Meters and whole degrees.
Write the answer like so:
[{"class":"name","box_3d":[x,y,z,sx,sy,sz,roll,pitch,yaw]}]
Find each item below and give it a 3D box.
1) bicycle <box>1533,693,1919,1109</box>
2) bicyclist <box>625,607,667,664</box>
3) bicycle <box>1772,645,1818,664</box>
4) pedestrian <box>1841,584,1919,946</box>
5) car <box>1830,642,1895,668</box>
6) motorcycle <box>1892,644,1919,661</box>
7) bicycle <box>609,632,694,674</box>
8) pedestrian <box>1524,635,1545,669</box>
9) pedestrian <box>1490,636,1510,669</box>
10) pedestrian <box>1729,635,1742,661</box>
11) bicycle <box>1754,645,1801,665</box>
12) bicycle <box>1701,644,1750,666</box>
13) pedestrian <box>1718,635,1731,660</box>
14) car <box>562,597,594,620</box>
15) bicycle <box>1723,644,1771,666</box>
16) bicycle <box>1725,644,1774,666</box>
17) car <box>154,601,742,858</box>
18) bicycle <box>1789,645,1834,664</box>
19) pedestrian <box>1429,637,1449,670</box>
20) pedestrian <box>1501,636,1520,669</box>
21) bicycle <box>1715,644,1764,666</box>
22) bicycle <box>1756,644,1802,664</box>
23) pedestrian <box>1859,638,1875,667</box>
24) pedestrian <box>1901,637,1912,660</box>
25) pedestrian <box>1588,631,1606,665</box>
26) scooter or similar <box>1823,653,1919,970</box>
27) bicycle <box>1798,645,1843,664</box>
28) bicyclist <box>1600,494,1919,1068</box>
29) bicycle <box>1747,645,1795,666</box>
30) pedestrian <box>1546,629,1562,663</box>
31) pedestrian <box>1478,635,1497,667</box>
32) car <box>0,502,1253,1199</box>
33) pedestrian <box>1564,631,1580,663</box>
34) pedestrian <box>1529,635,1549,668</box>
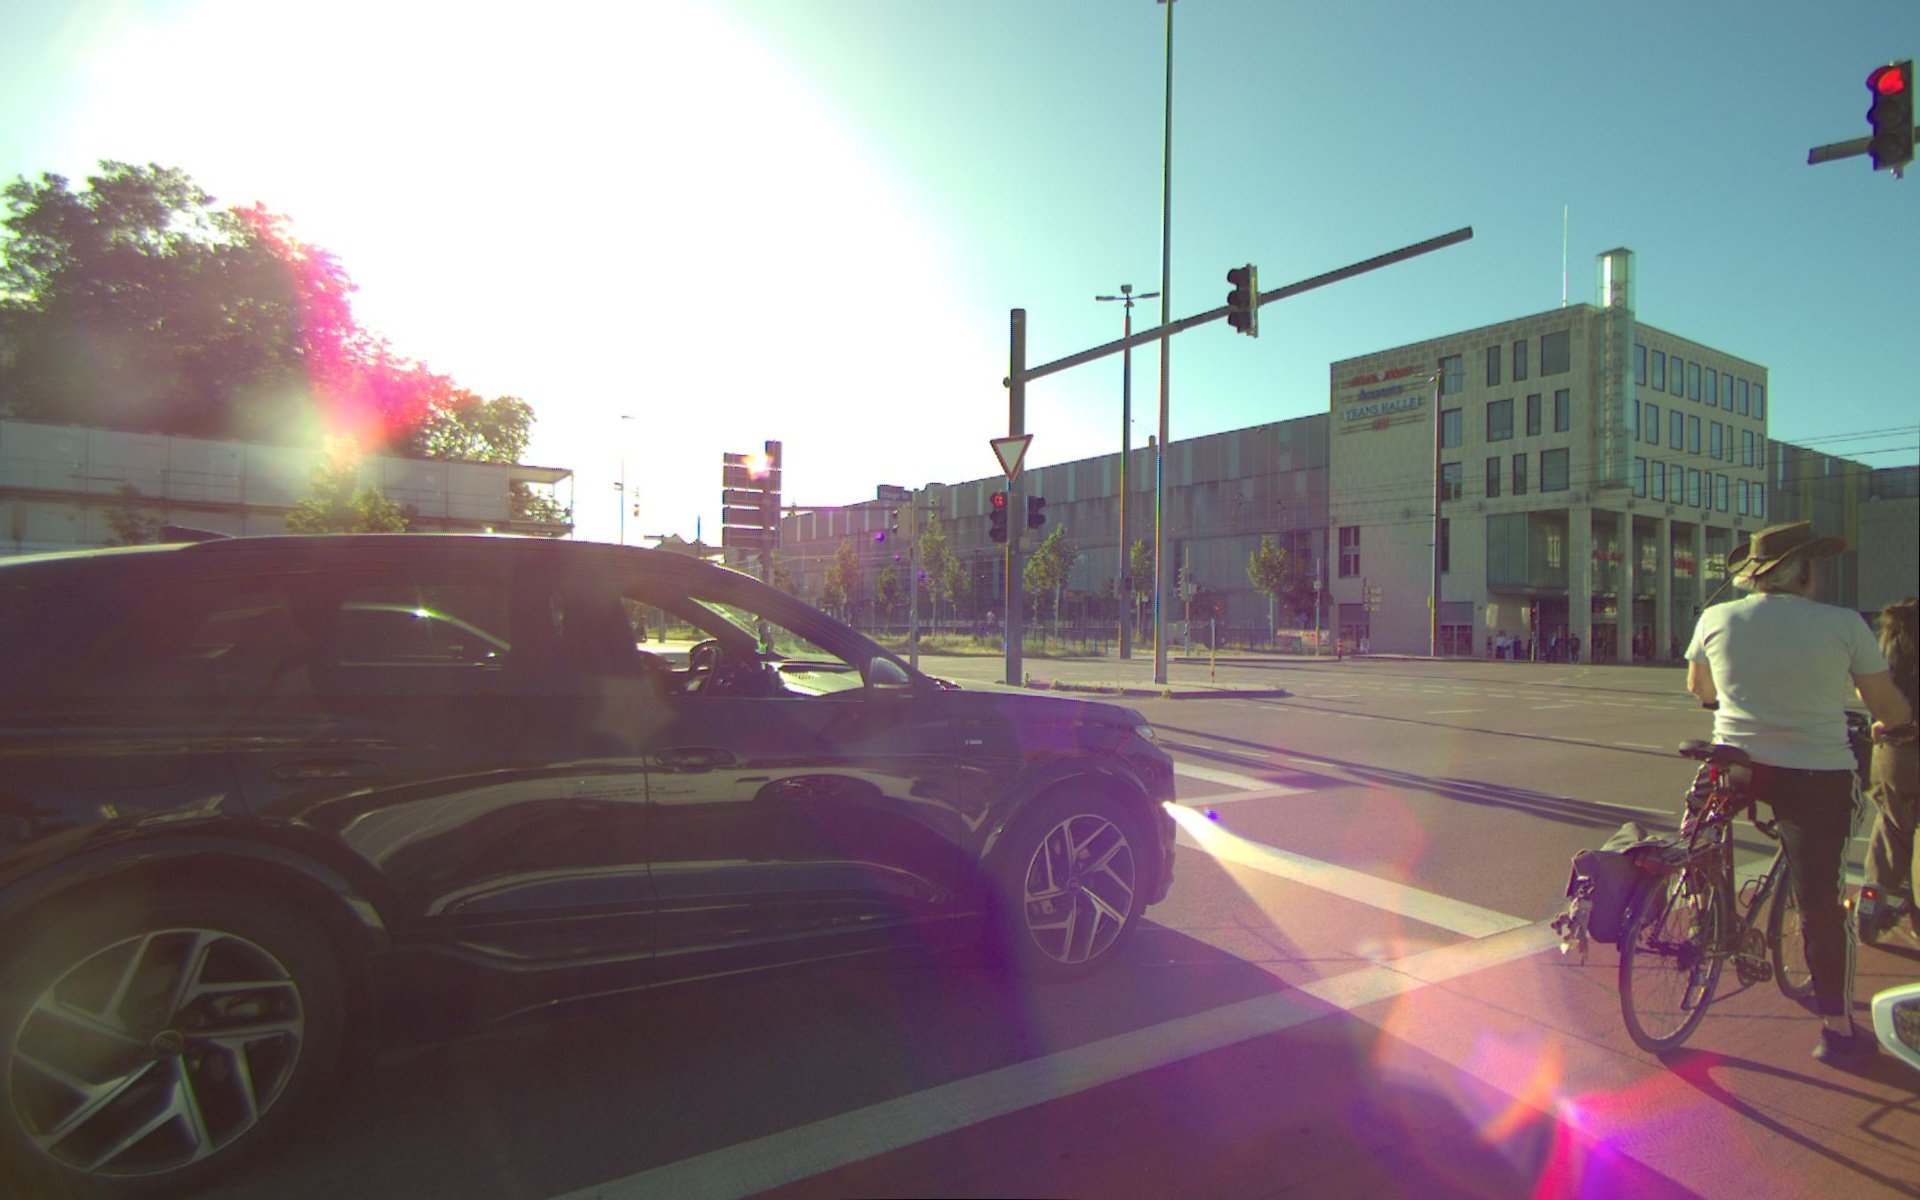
[{"class":"bicycle","box_3d":[2.870,0.964,3.678,1.810,1.171,0.482,2,0,-31]},{"class":"bicyclist","box_3d":[-11.573,1.302,37.063,1.078,2.040,0.961,2,0,17]},{"class":"bicycle","box_3d":[55.513,3.618,66.826,0.605,1.238,2.295,1,-1,-31]},{"class":"pedestrian","box_3d":[4.624,0.764,4.805,0.568,1.654,0.543,2,0,-45]},{"class":"car","box_3d":[49.776,3.063,55.406,3.956,1.359,1.621,2,-4,-32]},{"class":"motorcycle","box_3d":[70.733,3.905,74.852,0.508,1.223,1.786,1,0,-44]},{"class":"bicycle","box_3d":[-11.382,1.943,37.010,2.905,1.388,0.970,2,0,16]},{"class":"pedestrian","box_3d":[33.390,3.007,58.374,0.710,1.910,0.779,2,0,-36]},{"class":"pedestrian","box_3d":[32.155,3.129,59.866,0.710,1.910,0.779,2,0,-36]},{"class":"pedestrian","box_3d":[51.904,3.179,67.254,0.602,1.702,0.549,1,1,-40]},{"class":"bicycle","box_3d":[52.895,3.530,65.015,0.605,1.238,2.295,1,-1,-31]},{"class":"bicycle","box_3d":[45.756,3.288,60.080,0.605,1.238,2.295,1,-1,-31]},{"class":"pedestrian","box_3d":[51.499,3.195,67.647,0.610,1.702,0.565,1,1,-39]},{"class":"car","box_3d":[-32.942,0.723,86.513,1.785,1.908,3.964,2,0,-33]},{"class":"bicycle","box_3d":[48.040,3.364,61.335,0.605,1.238,2.295,1,-1,-31]},{"class":"bicycle","box_3d":[48.690,3.387,61.956,0.605,1.238,2.295,1,-1,-31]},{"class":"car","box_3d":[-3.594,0.792,7.495,3.562,1.505,1.485,1,0,-30]},{"class":"bicycle","box_3d":[58.845,3.732,69.425,0.605,1.238,2.295,1,-1,-31]},{"class":"pedestrian","box_3d":[30.912,3.441,64.866,0.767,2.040,0.876,2,0,-41]},{"class":"pedestrian","box_3d":[33.245,3.166,60.648,0.780,1.910,0.709,2,0,-37]},{"class":"bicycle","box_3d":[46.957,3.327,60.524,0.605,1.238,2.295,1,-1,-31]},{"class":"bicycle","box_3d":[54.274,3.579,66.563,0.605,1.238,2.295,1,-1,-31]},{"class":"pedestrian","box_3d":[55.583,3.188,61.552,0.639,1.742,0.449,0,-1,37]},{"class":"pedestrian","box_3d":[71.091,3.669,75.452,0.579,1.702,0.516,1,1,-43]},{"class":"pedestrian","box_3d":[35.865,2.694,56.581,0.784,1.868,0.863,0,-1,28]},{"class":"scooter or similar","box_3d":[4.483,0.928,4.713,1.186,1.311,0.541,2,0,-45]},{"class":"bicycle","box_3d":[59.817,3.764,69.849,0.605,1.238,2.295,1,-1,-31]},{"class":"bicyclist","box_3d":[2.860,0.559,3.552,0.856,1.743,0.657,2,0,-30]},{"class":"bicycle","box_3d":[51.270,3.473,63.548,0.605,1.238,2.295,1,-1,-31]},{"class":"pedestrian","box_3d":[34.178,2.644,57.789,0.705,1.910,0.785,2,0,33]},{"class":"pedestrian","box_3d":[32.295,3.108,61.493,0.710,1.910,0.779,2,0,-36]},{"class":"car","box_3d":[-1.162,0.635,3.869,4.630,1.656,1.760,1,0,-32]},{"class":"pedestrian","box_3d":[35.623,2.730,58.422,0.784,1.868,0.862,0,-1,32]},{"class":"pedestrian","box_3d":[34.400,3.044,59.687,0.710,1.910,0.779,2,0,-36]}]
